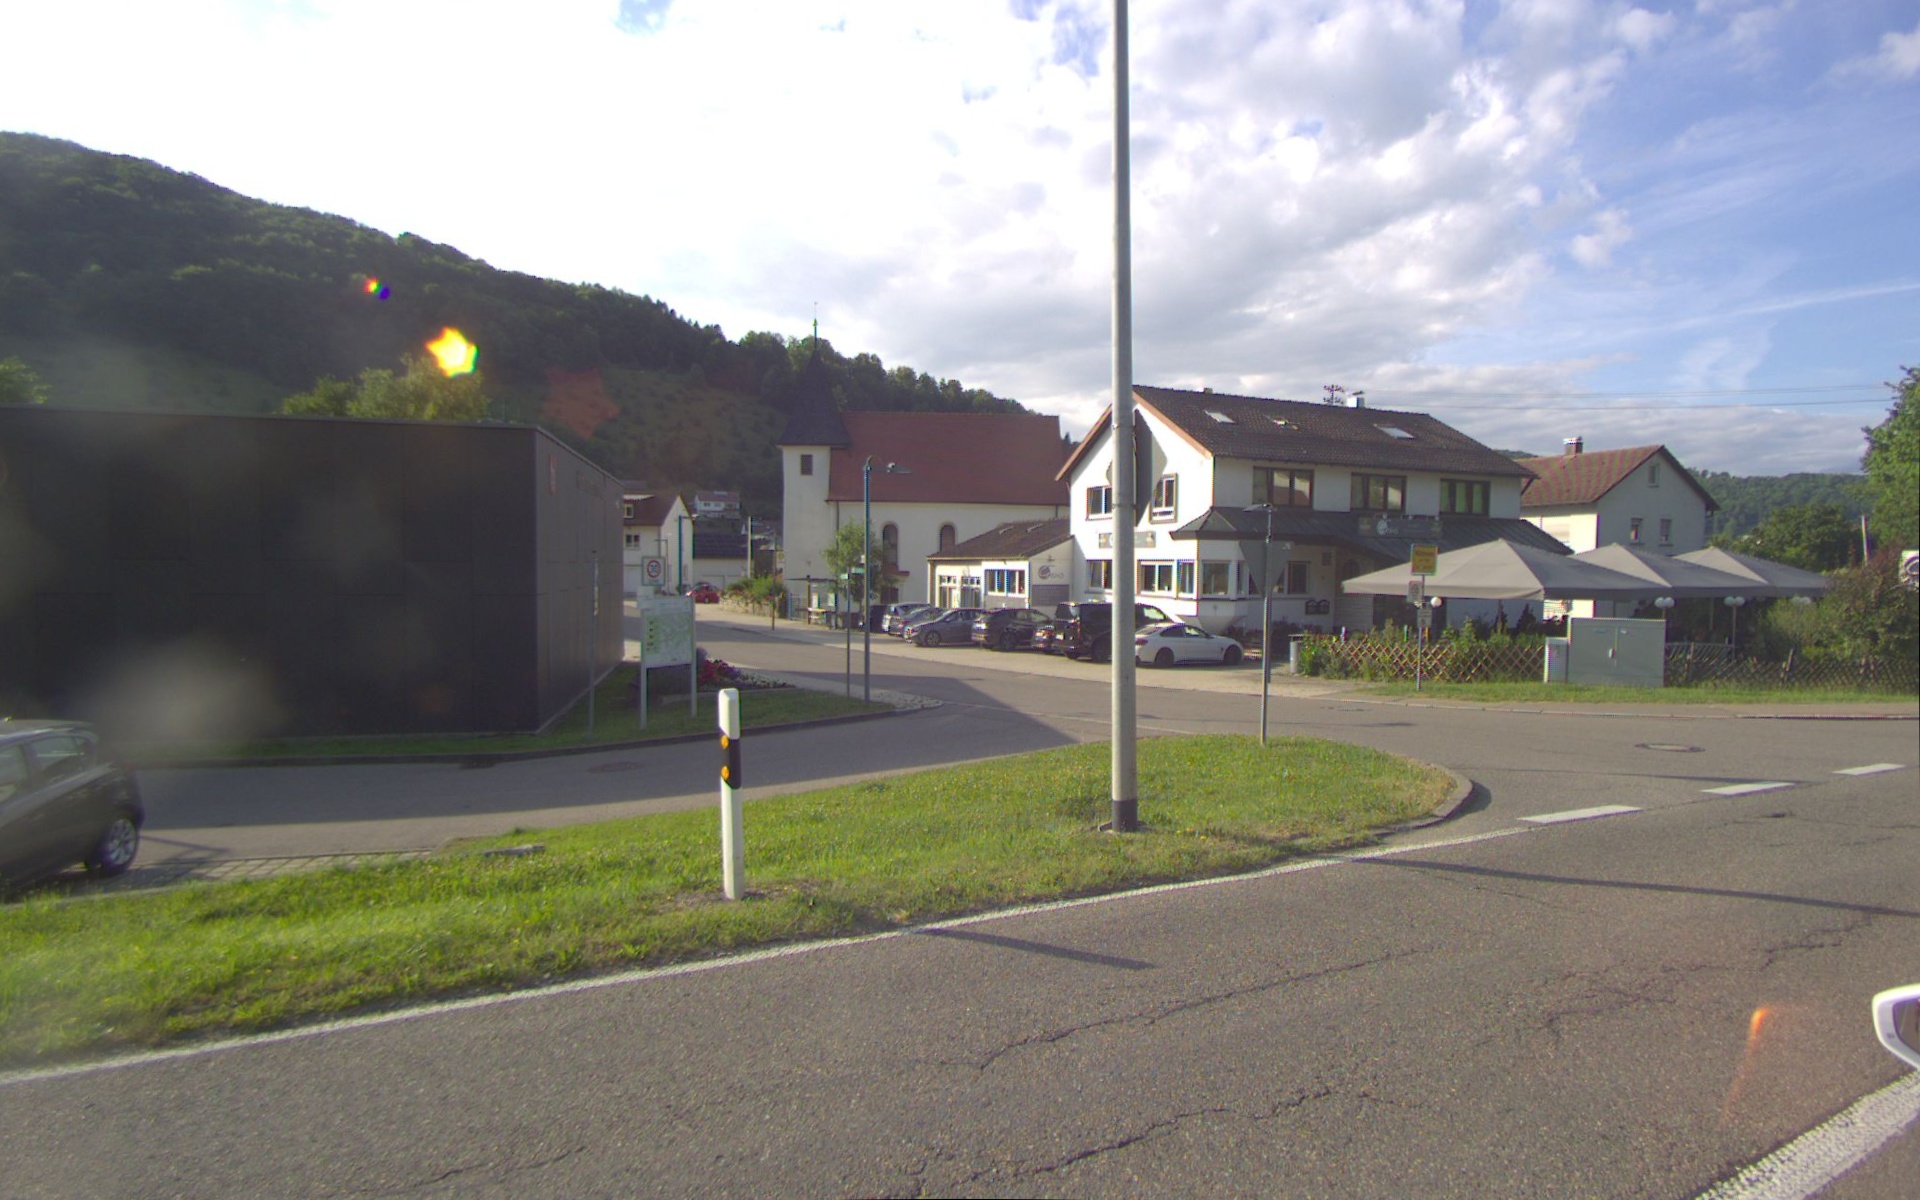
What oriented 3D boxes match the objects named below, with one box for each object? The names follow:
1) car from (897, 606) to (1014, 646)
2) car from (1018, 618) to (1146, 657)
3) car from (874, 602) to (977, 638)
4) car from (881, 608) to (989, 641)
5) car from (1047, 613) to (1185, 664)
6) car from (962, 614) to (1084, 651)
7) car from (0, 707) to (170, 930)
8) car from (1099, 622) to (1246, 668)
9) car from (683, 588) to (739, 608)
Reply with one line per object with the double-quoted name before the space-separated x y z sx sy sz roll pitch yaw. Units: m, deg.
"car" -0.174 1.098 42.311 4.518 1.618 1.986 1 -1 -27
"car" 4.644 1.414 38.230 4.518 1.408 1.986 1 -1 -27
"car" -1.656 0.977 48.072 4.518 1.665 1.986 1 -1 -27
"car" -1.113 1.093 45.474 4.518 1.431 1.986 1 -1 -27
"car" 5.465 1.317 35.121 4.518 1.707 1.986 1 -1 -27
"car" 2.542 1.280 40.167 4.518 1.431 1.986 1 -1 -27
"car" -8.514 1.823 8.050 1.801 1.555 3.992 1 -1 -12
"car" 6.979 1.435 32.902 4.518 1.408 1.986 1 -1 -27
"car" -19.923 -0.159 80.526 3.956 1.528 1.982 0 0 -33
